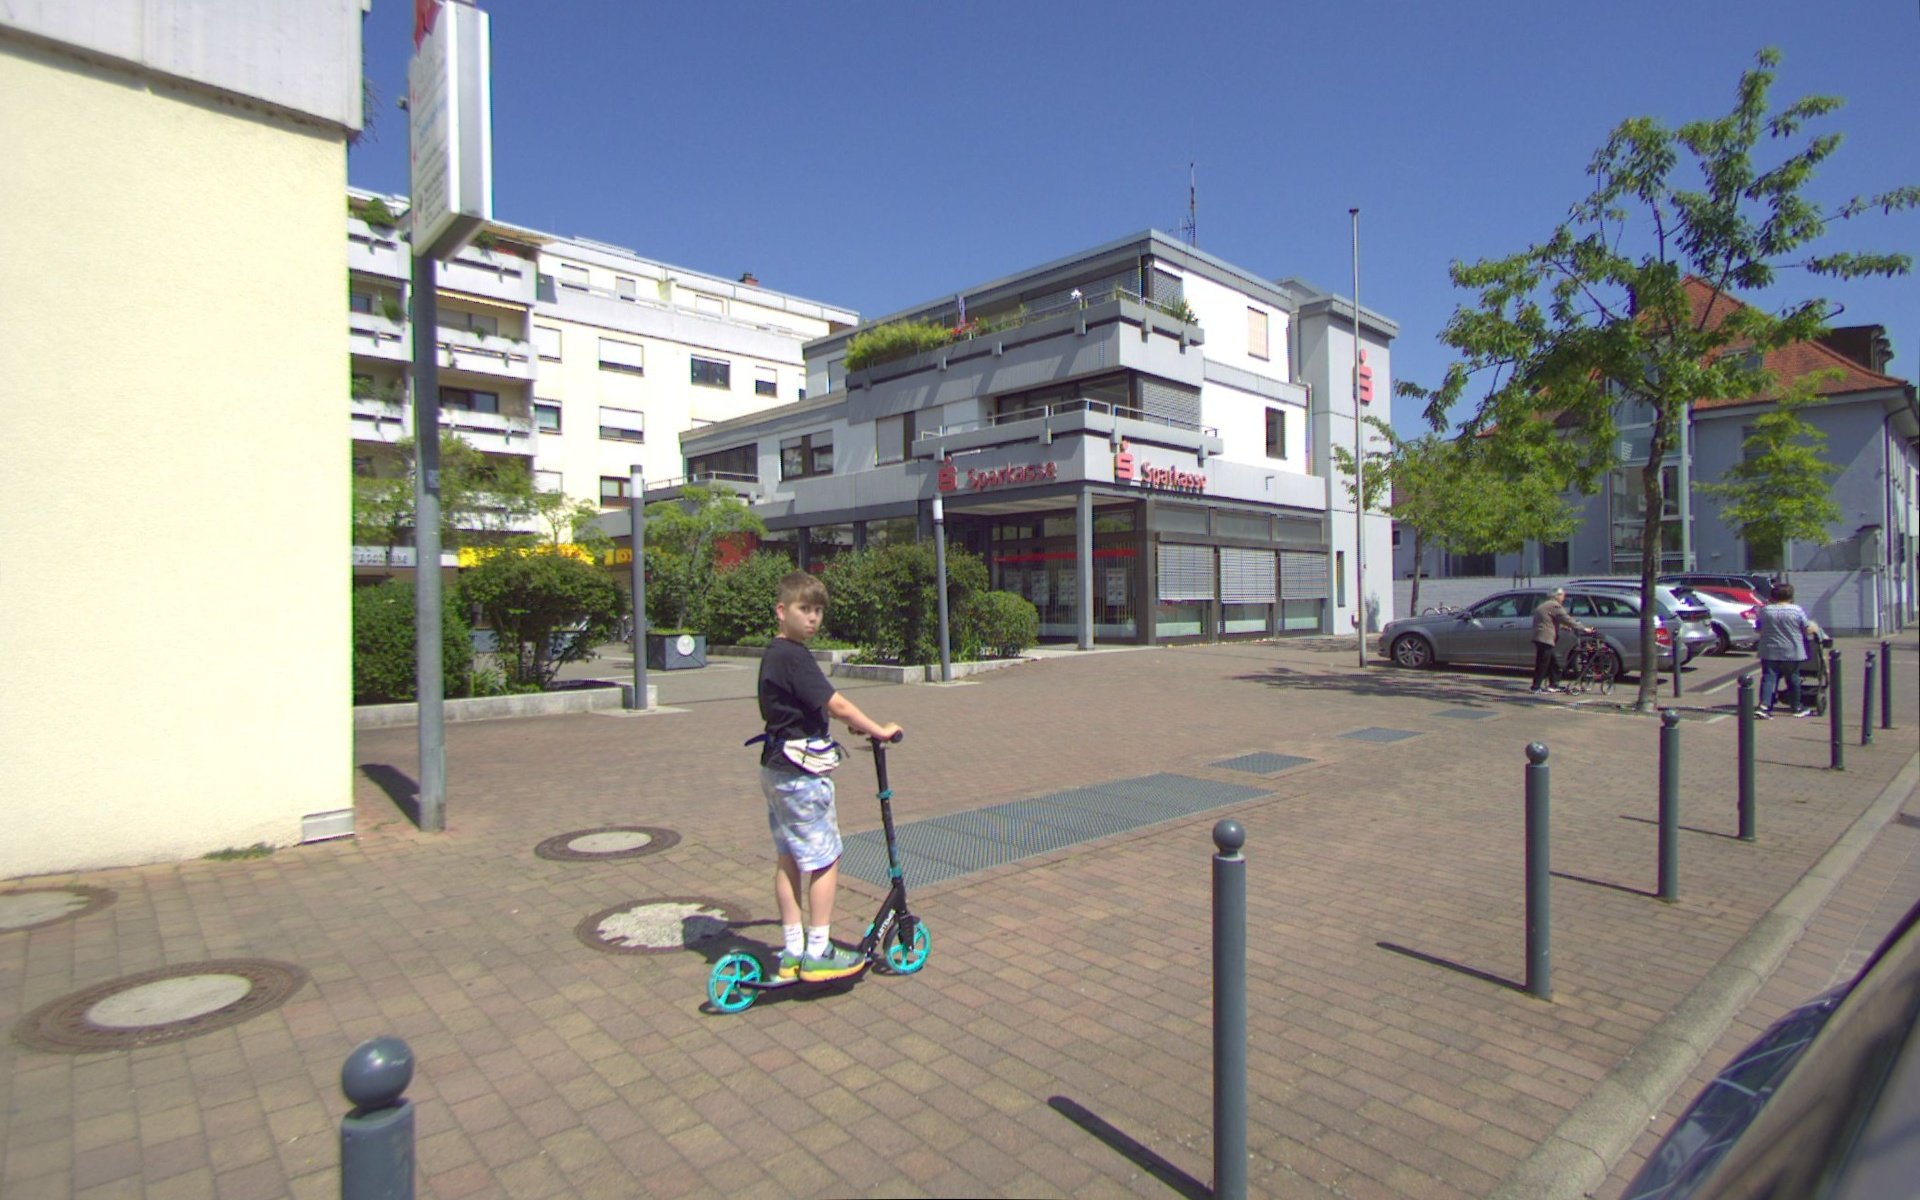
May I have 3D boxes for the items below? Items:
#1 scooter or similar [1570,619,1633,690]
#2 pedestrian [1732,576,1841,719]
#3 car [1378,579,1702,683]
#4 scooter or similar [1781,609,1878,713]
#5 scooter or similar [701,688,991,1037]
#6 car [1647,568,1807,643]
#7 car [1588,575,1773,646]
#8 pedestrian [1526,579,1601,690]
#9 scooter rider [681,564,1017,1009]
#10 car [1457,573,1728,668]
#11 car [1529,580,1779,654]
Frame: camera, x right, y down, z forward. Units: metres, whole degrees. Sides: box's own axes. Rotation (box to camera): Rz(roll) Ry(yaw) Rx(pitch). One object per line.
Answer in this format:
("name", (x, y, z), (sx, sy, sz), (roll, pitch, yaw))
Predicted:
("scooter or similar", (8.951, 0.751, 14.136), (0.536, 0.958, 0.536), (0, 0, 1))
("pedestrian", (9.221, 0.508, 11.288), (1.026, 1.535, 0.514), (0, 1, -23))
("car", (9.517, 0.408, 16.868), (4.432, 1.484, 1.664), (2, 2, 44))
("scooter or similar", (9.998, 0.686, 11.639), (0.890, 1.132, 0.507), (0, 1, -24))
("scooter or similar", (-0.381, 0.844, 3.561), (0.943, 0.977, 0.411), (-1, 0, -39))
("car", (19.020, 0.096, 25.151), (3.032, 1.759, 1.324), (1, 1, 44))
("car", (17.114, 0.215, 24.139), (3.421, 1.571, 1.467), (0, 1, 45))
("pedestrian", (8.427, 0.472, 14.144), (0.711, 1.520, 0.531), (0, 0, 2))
("scooter rider", (-0.363, 0.554, 3.585), (1.113, 1.341, 0.462), (-1, 0, -40))
("car", (11.616, 0.294, 18.750), (4.033, 1.579, 1.686), (1, 1, 43))
("car", (15.288, 0.304, 22.441), (4.429, 1.460, 1.632), (1, 1, 42))
